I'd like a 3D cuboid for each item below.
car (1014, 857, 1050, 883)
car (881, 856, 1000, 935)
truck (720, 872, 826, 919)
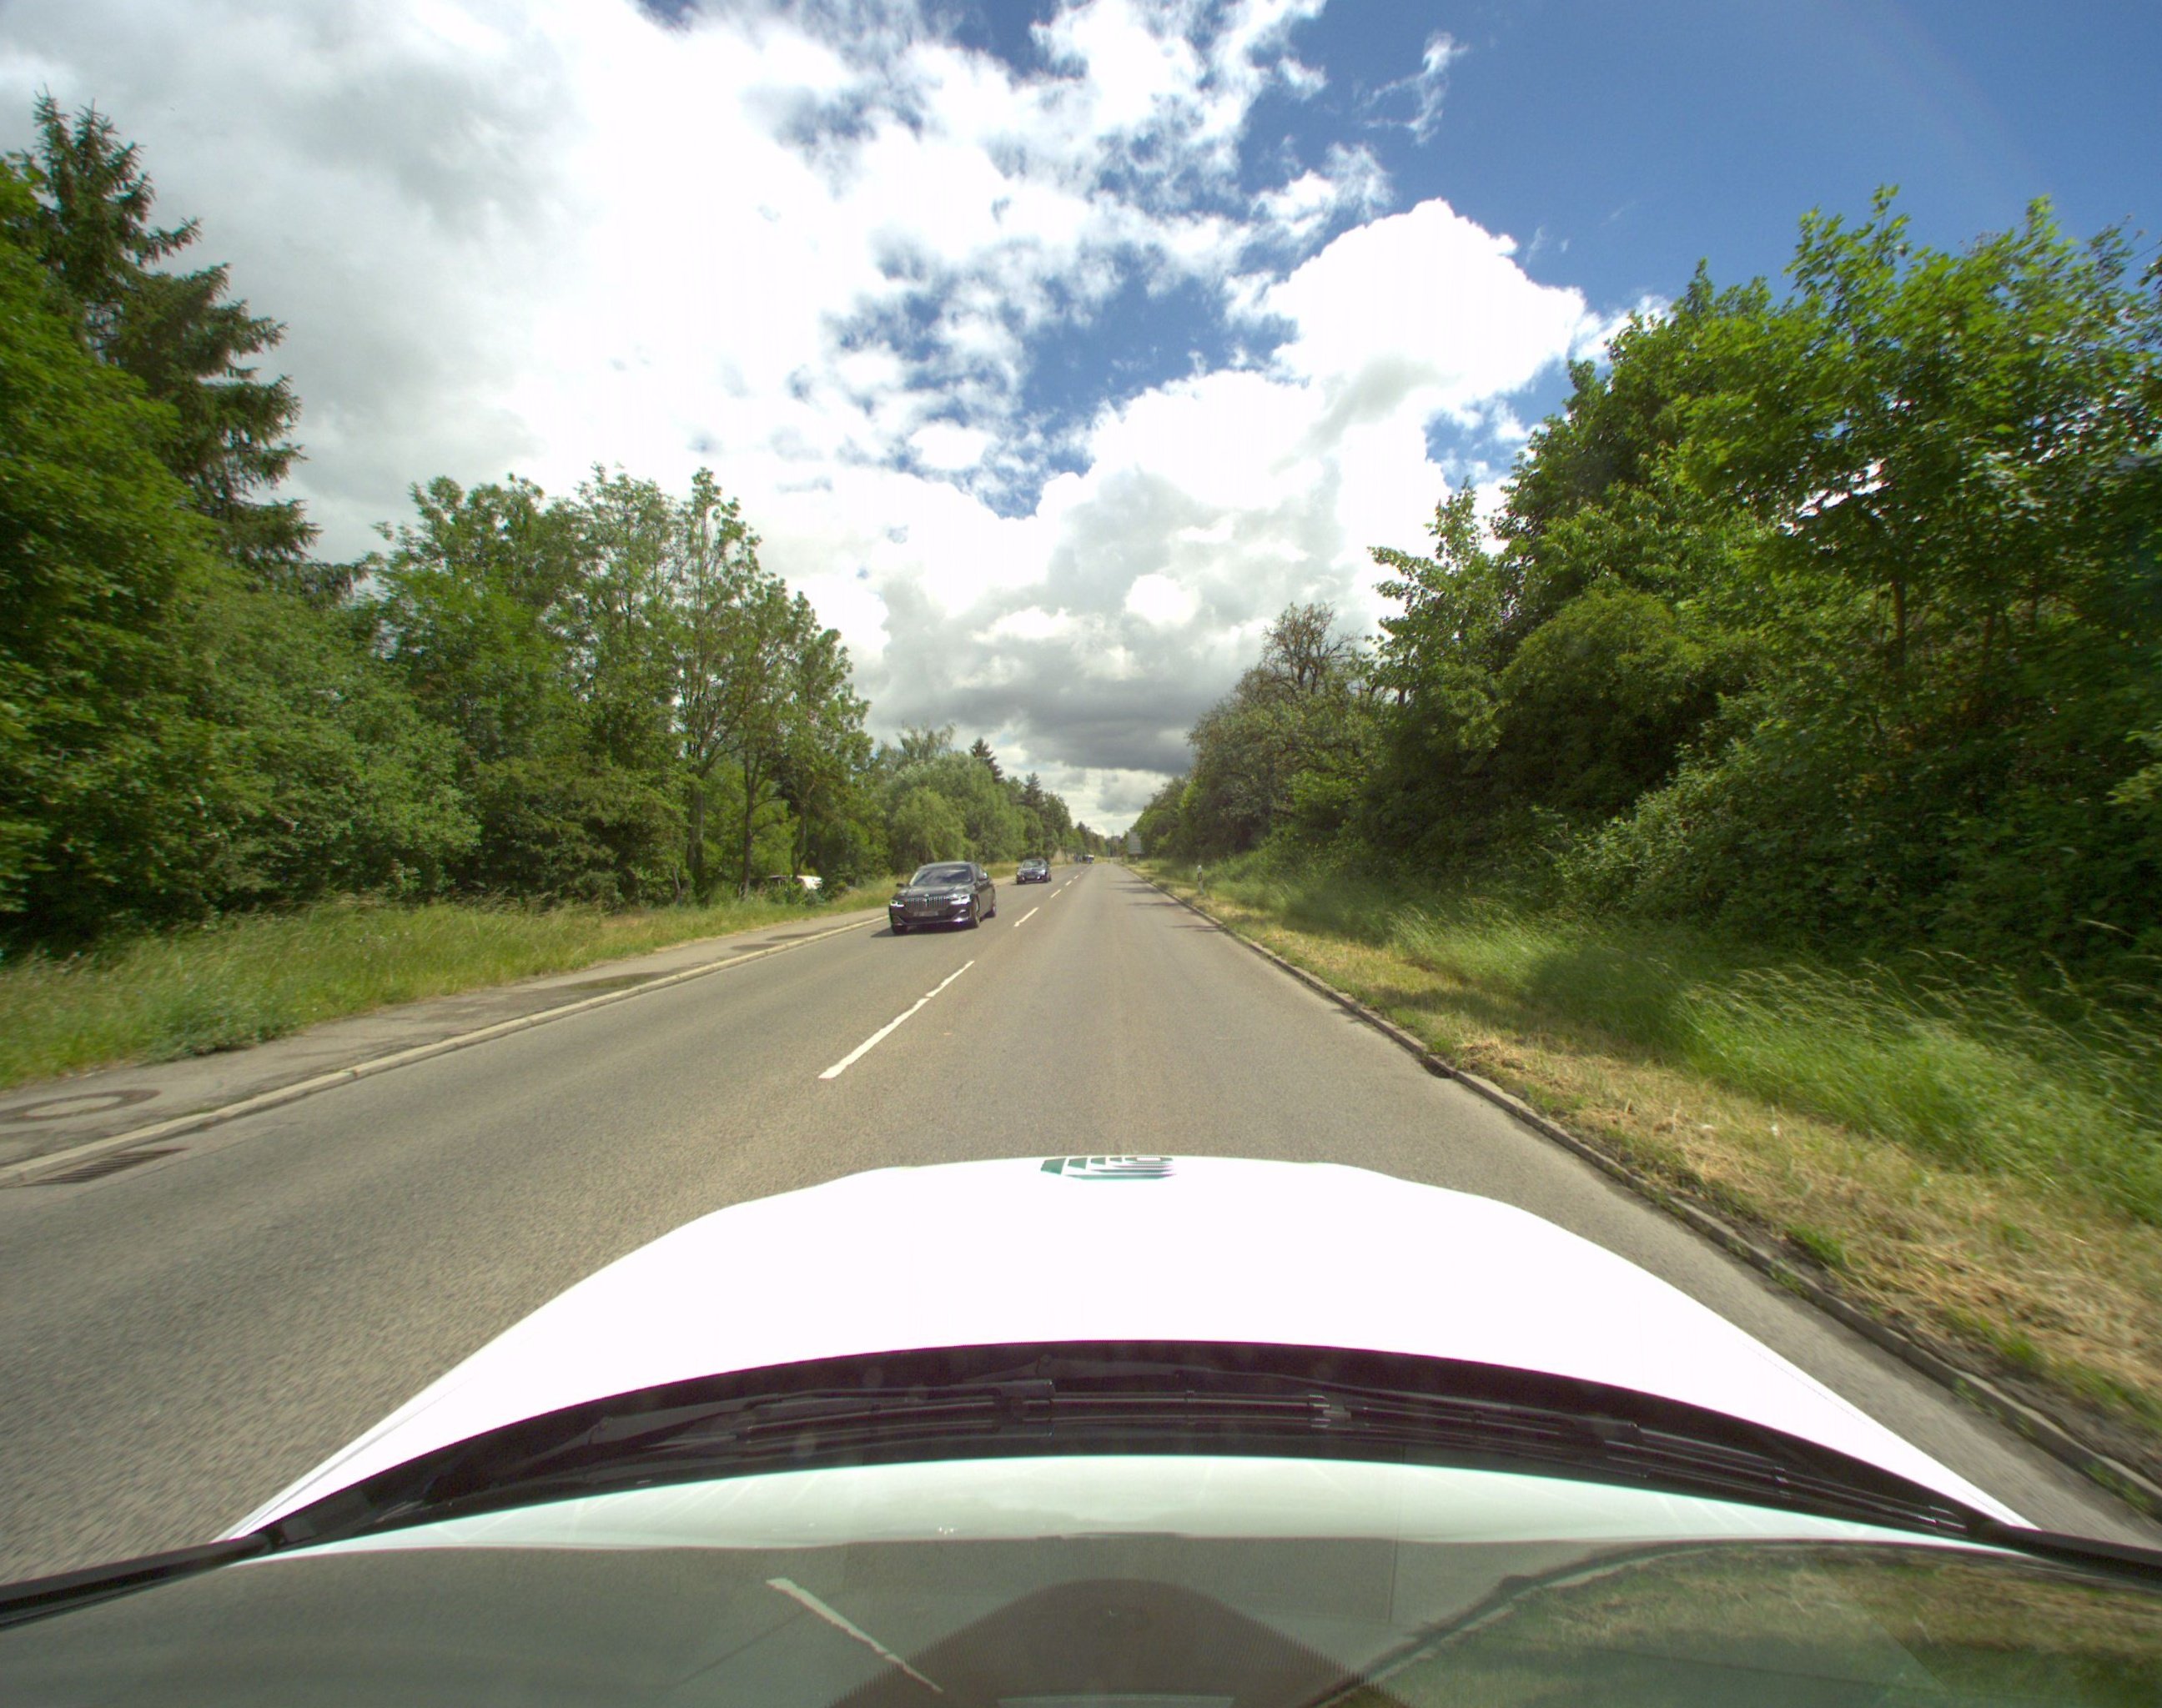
[{"bbox_3d":[-2.871,0.934,48.754,1.778,1.334,4.622,-4,0,0],"label":"car"},{"bbox_3d":[-3.166,0.875,19.337,1.878,1.491,4.717,-4,0,0],"label":"car"},{"bbox_3d":[-20.279,2.745,53.713,6.164,2.609,2.006,-4,-1,10],"label":"truck"}]
